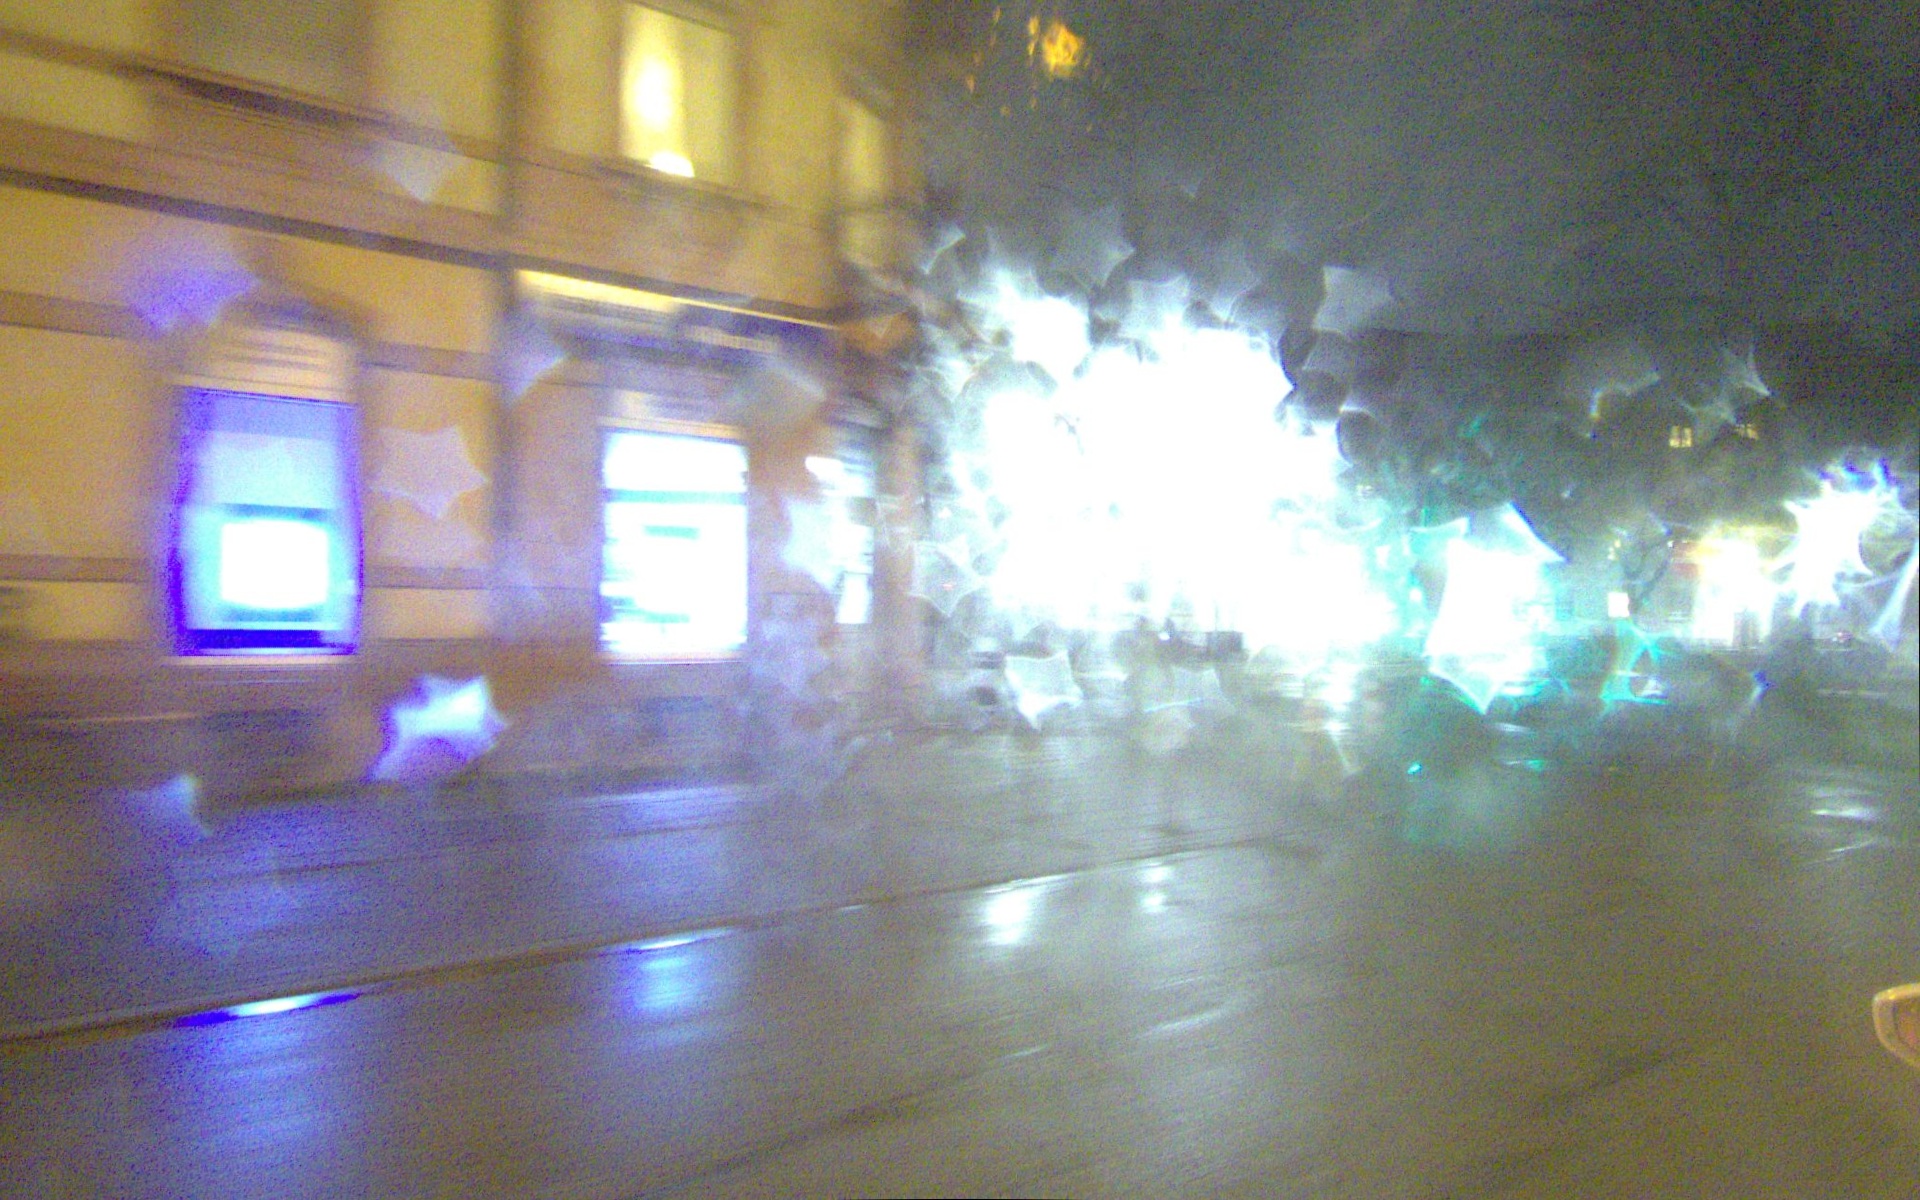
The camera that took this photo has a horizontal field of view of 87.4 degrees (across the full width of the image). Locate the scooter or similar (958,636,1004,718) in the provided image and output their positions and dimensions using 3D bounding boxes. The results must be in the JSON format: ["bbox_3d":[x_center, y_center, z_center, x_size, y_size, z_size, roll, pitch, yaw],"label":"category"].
[{"bbox_3d":[0.328,1.142,15.184,0.560,1.141,0.933,2,1,7],"label":"scooter or similar"}]

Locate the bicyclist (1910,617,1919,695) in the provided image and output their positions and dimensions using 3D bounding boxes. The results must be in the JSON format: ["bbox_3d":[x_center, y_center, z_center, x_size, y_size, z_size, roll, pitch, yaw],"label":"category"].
[{"bbox_3d":[17.740,1.027,18.030,0.880,1.398,0.503,3,1,36],"label":"bicyclist"}]

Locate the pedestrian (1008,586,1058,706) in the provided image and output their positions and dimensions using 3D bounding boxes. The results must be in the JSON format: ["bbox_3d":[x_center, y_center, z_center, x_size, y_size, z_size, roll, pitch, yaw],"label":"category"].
[{"bbox_3d":[1.158,0.718,16.109,0.680,1.845,0.947,2,1,1],"label":"pedestrian"}]

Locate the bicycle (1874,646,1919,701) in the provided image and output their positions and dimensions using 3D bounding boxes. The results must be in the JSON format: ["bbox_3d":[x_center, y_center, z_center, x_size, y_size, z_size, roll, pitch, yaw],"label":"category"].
[{"bbox_3d":[17.681,1.364,18.062,1.755,0.944,0.498,3,1,36],"label":"bicycle"}]

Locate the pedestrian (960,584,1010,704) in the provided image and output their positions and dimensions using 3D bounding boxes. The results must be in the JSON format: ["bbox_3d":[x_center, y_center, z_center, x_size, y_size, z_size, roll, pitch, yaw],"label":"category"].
[{"bbox_3d":[0.411,0.688,16.130,0.680,1.845,0.947,2,1,5],"label":"pedestrian"}]
